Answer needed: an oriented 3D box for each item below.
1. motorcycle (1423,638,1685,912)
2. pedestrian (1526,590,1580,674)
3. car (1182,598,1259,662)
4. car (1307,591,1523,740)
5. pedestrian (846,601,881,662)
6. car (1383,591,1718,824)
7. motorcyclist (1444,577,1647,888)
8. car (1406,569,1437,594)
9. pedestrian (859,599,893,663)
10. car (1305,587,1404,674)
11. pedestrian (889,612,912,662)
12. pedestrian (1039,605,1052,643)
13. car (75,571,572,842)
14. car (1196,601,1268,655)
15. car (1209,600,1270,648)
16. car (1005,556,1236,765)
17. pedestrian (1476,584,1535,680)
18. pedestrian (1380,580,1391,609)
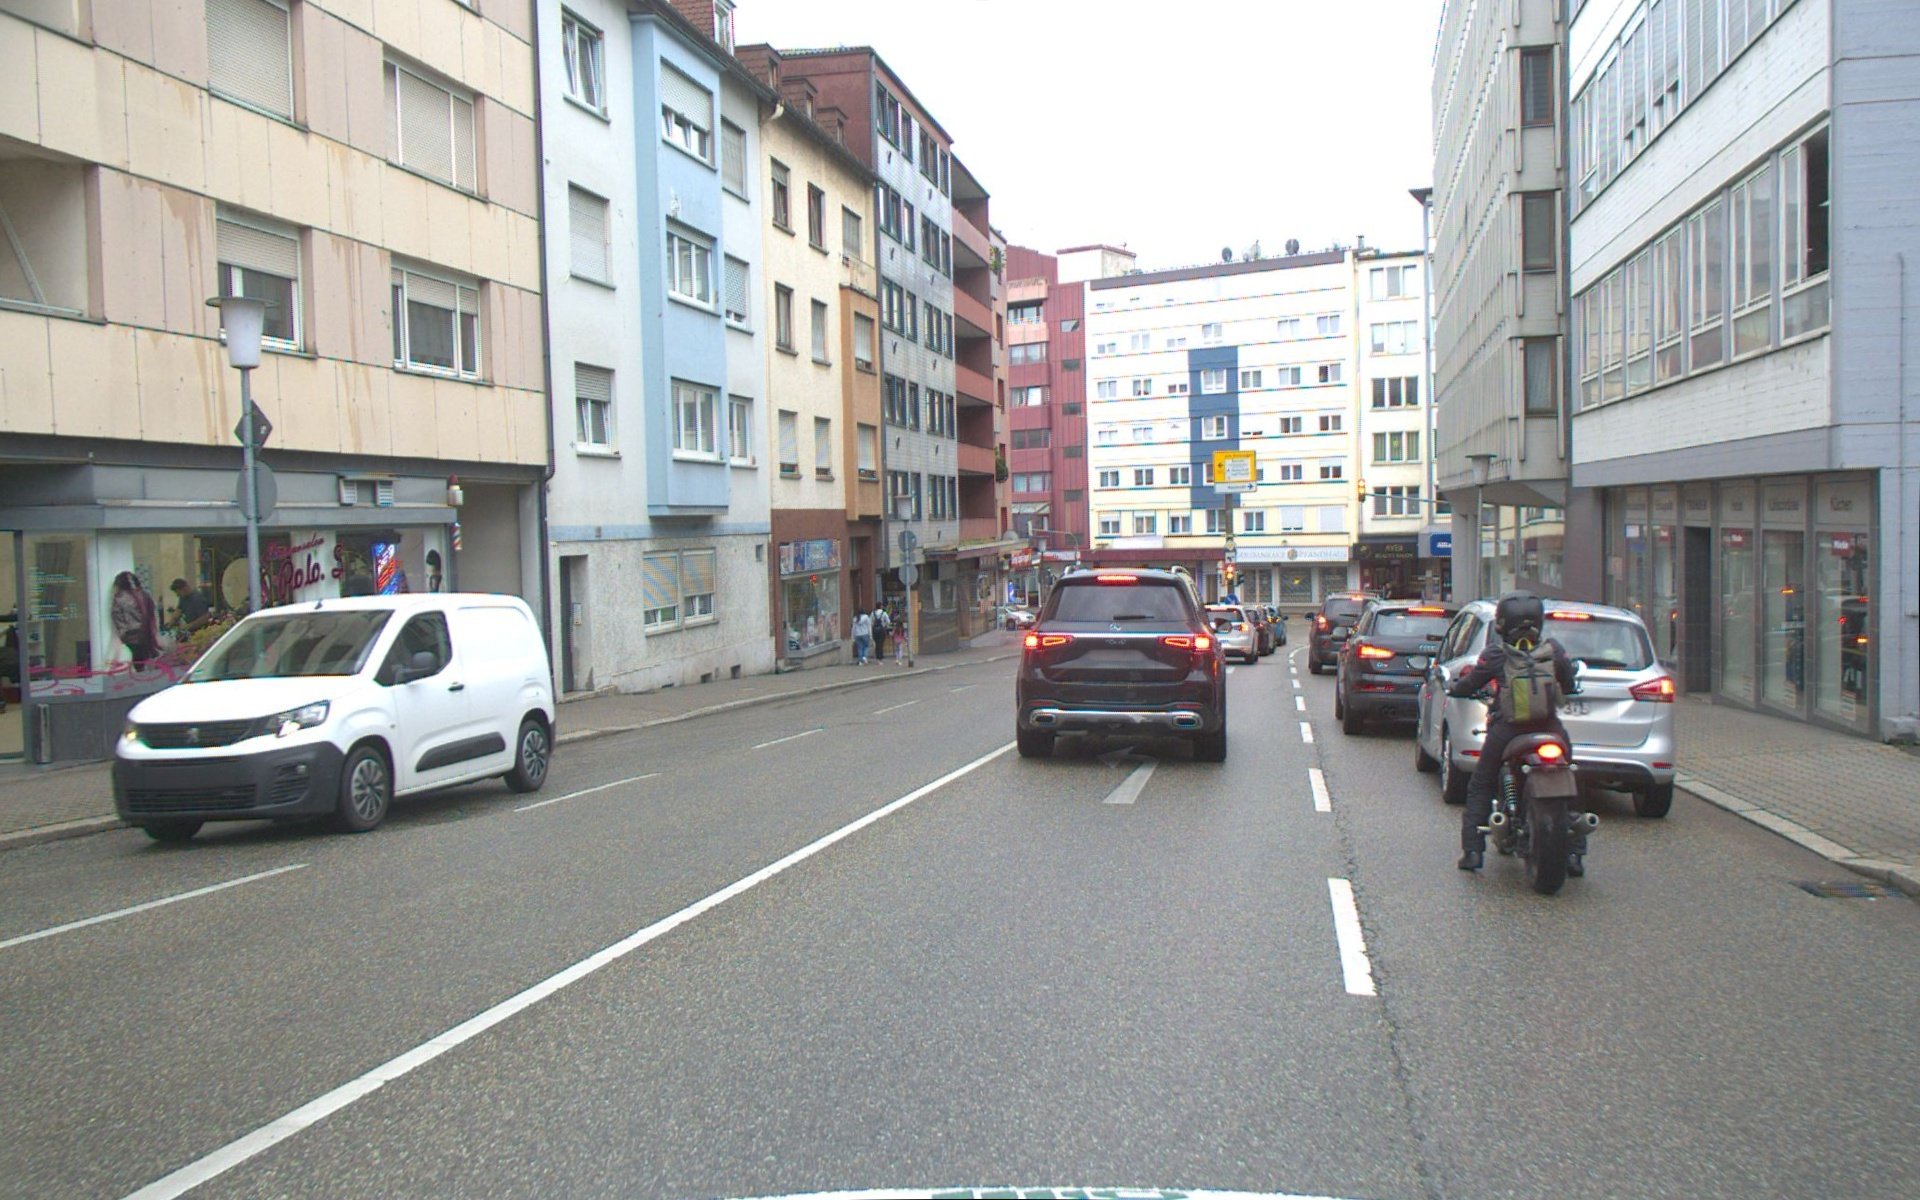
[{"bbox_3d":[3.244,0.884,9.306,0.827,1.247,2.375,2,0,6],"label":"motorcycle"},{"bbox_3d":[11.474,0.614,32.016,0.749,1.578,0.891,-3,-1,8],"label":"pedestrian"},{"bbox_3d":[6.749,0.732,42.601,1.833,1.521,4.404,1,0,10],"label":"car"},{"bbox_3d":[5.487,0.730,20.472,1.785,1.587,4.204,2,0,5],"label":"car"},{"bbox_3d":[-2.573,0.832,44.268,0.810,1.588,0.724,2,0,3],"label":"pedestrian"},{"bbox_3d":[4.760,0.762,13.971,1.787,1.568,4.255,3,0,8],"label":"car"},{"bbox_3d":[3.253,0.701,9.287,0.827,1.617,0.963,2,0,6],"label":"motorcyclist"},{"bbox_3d":[32.108,-1.258,114.979,1.760,1.699,4.001,-1,0,20],"label":"car"},{"bbox_3d":[-2.320,0.840,45.578,0.810,1.719,0.724,2,0,3],"label":"pedestrian"},{"bbox_3d":[8.671,0.638,36.652,1.857,1.724,4.509,3,0,11],"label":"car"},{"bbox_3d":[-1.639,1.004,45.548,0.522,1.346,0.724,2,0,3],"label":"pedestrian"},{"bbox_3d":[3.890,1.077,75.237,0.542,1.727,0.624,-1,0,8],"label":"pedestrian"},{"bbox_3d":[-4.928,0.755,13.554,1.822,1.835,4.269,-2,-1,10],"label":"car"},{"bbox_3d":[8.173,0.805,49.451,1.951,1.512,4.240,-1,0,12],"label":"car"},{"bbox_3d":[9.754,0.859,57.505,1.884,1.542,4.666,2,-1,12],"label":"car"},{"bbox_3d":[1.810,0.530,17.076,1.995,1.830,4.667,1,0,10],"label":"car"},{"bbox_3d":[10.277,0.599,31.193,0.767,1.735,1.122,-3,-1,8],"label":"pedestrian"},{"bbox_3d":[26.476,-0.364,102.874,0.552,1.717,0.756,-1,6,18],"label":"pedestrian"}]
